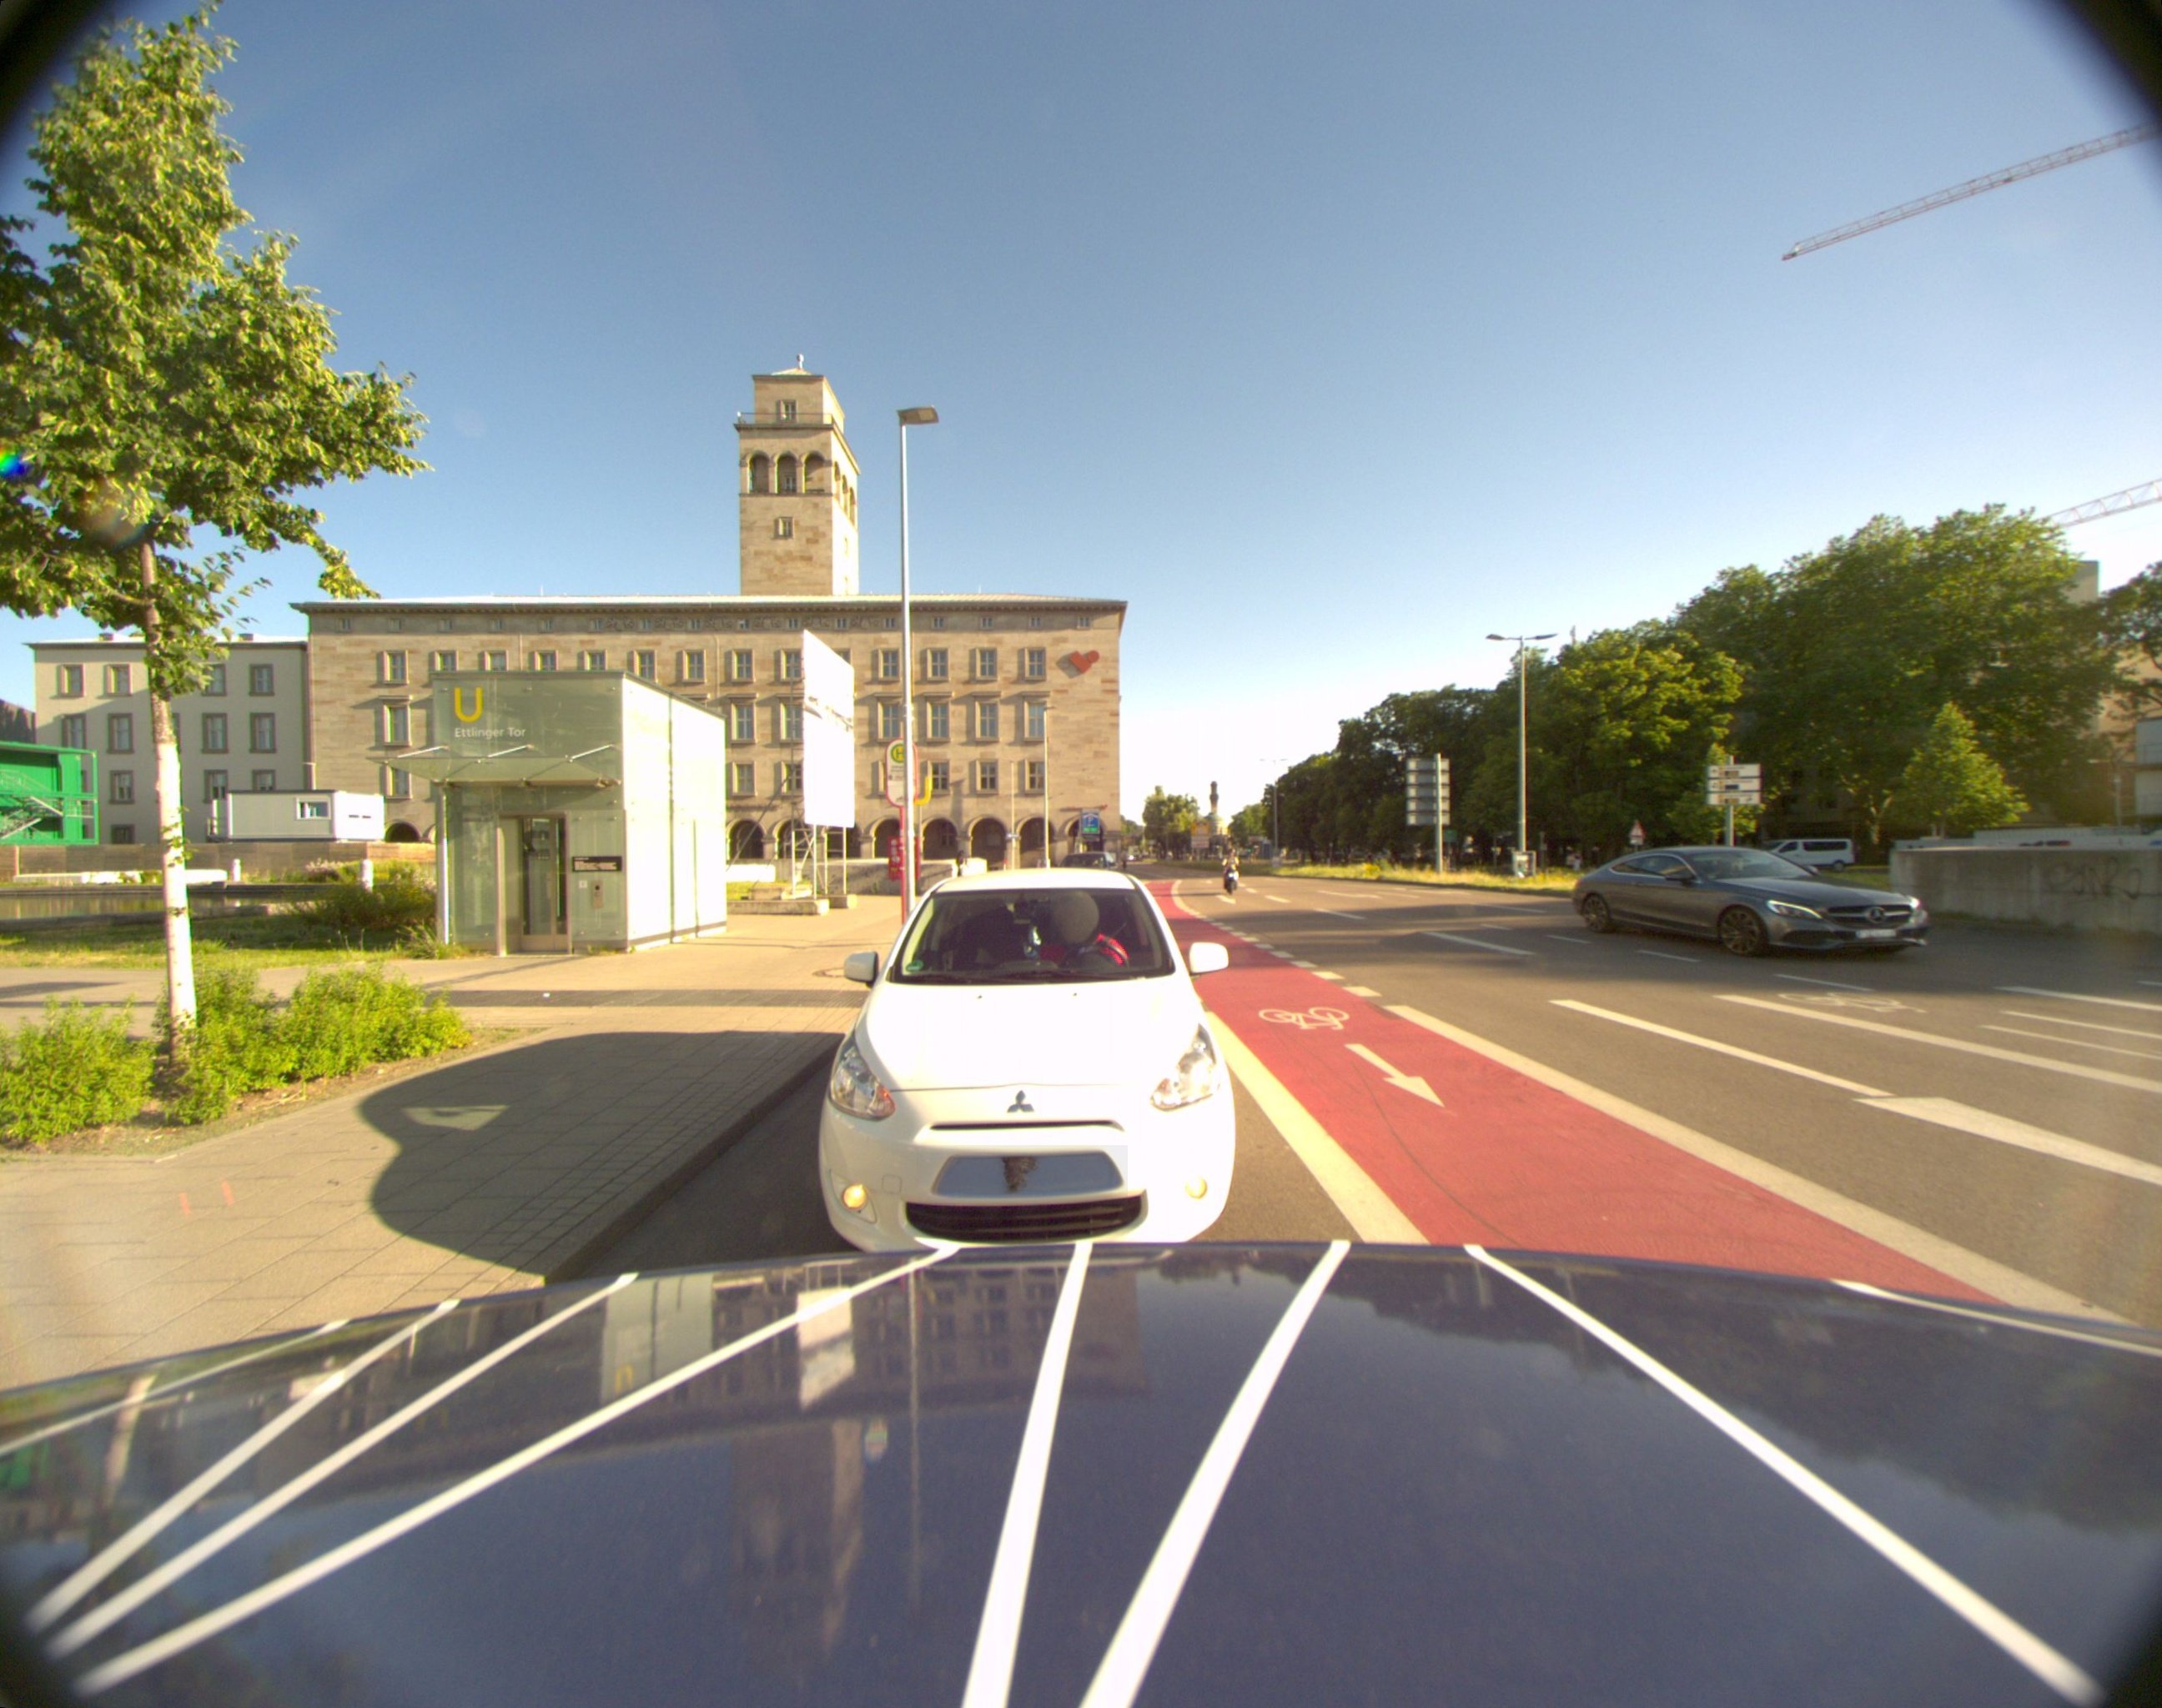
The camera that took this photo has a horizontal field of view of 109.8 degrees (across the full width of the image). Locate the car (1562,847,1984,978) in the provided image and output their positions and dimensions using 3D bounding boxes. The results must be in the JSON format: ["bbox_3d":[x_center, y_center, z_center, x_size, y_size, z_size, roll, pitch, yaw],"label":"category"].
[{"bbox_3d":[9.211,0.649,10.809,1.998,1.398,4.489,-2,0,2],"label":"car"}]

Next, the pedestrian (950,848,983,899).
[{"bbox_3d":[-4.156,0.685,27.583,0.942,1.776,1.072,-2,1,1],"label":"pedestrian"}]

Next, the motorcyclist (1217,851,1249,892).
[{"bbox_3d":[5.497,0.617,27.581,0.974,1.405,1.059,-2,1,5],"label":"motorcyclist"}]

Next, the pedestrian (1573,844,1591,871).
[{"bbox_3d":[32.749,0.209,49.682,0.665,1.715,0.762,0,1,1],"label":"pedestrian"}]

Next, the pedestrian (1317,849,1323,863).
[{"bbox_3d":[32.510,0.259,103.154,0.568,1.837,0.734,-1,1,-1],"label":"pedestrian"}]

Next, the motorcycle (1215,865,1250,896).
[{"bbox_3d":[5.528,0.953,27.850,0.974,1.008,2.267,-2,0,5],"label":"motorcycle"}]

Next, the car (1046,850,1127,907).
[{"bbox_3d":[0.277,0.722,24.908,1.997,1.709,4.329,-1,0,9],"label":"car"}]

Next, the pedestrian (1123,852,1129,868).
[{"bbox_3d":[5.290,0.684,89.044,0.704,1.843,0.828,-1,1,0],"label":"pedestrian"}]

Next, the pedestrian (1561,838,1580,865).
[{"bbox_3d":[31.926,-0.171,49.557,0.707,1.715,0.762,-1,1,1],"label":"pedestrian"}]

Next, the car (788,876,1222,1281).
[{"bbox_3d":[-0.252,0.958,4.967,1.678,1.440,3.889,-2,0,2],"label":"car"}]

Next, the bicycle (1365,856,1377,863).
[{"bbox_3d":[32.119,0.597,84.249,0.610,0.838,1.745,-1,0,-1],"label":"bicycle"}]

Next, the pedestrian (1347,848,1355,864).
[{"bbox_3d":[32.257,0.245,90.669,0.628,1.837,0.925,-1,1,-1],"label":"pedestrian"}]

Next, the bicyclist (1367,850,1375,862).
[{"bbox_3d":[32.117,0.250,84.242,0.610,1.274,0.715,-1,1,-1],"label":"bicyclist"}]

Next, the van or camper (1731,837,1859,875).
[{"bbox_3d":[42.299,0.089,45.086,5.649,2.002,1.948,-2,1,2],"label":"van or camper"}]

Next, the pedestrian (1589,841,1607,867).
[{"bbox_3d":[33.826,0.007,49.717,0.707,1.715,0.762,-1,1,2],"label":"pedestrian"}]
